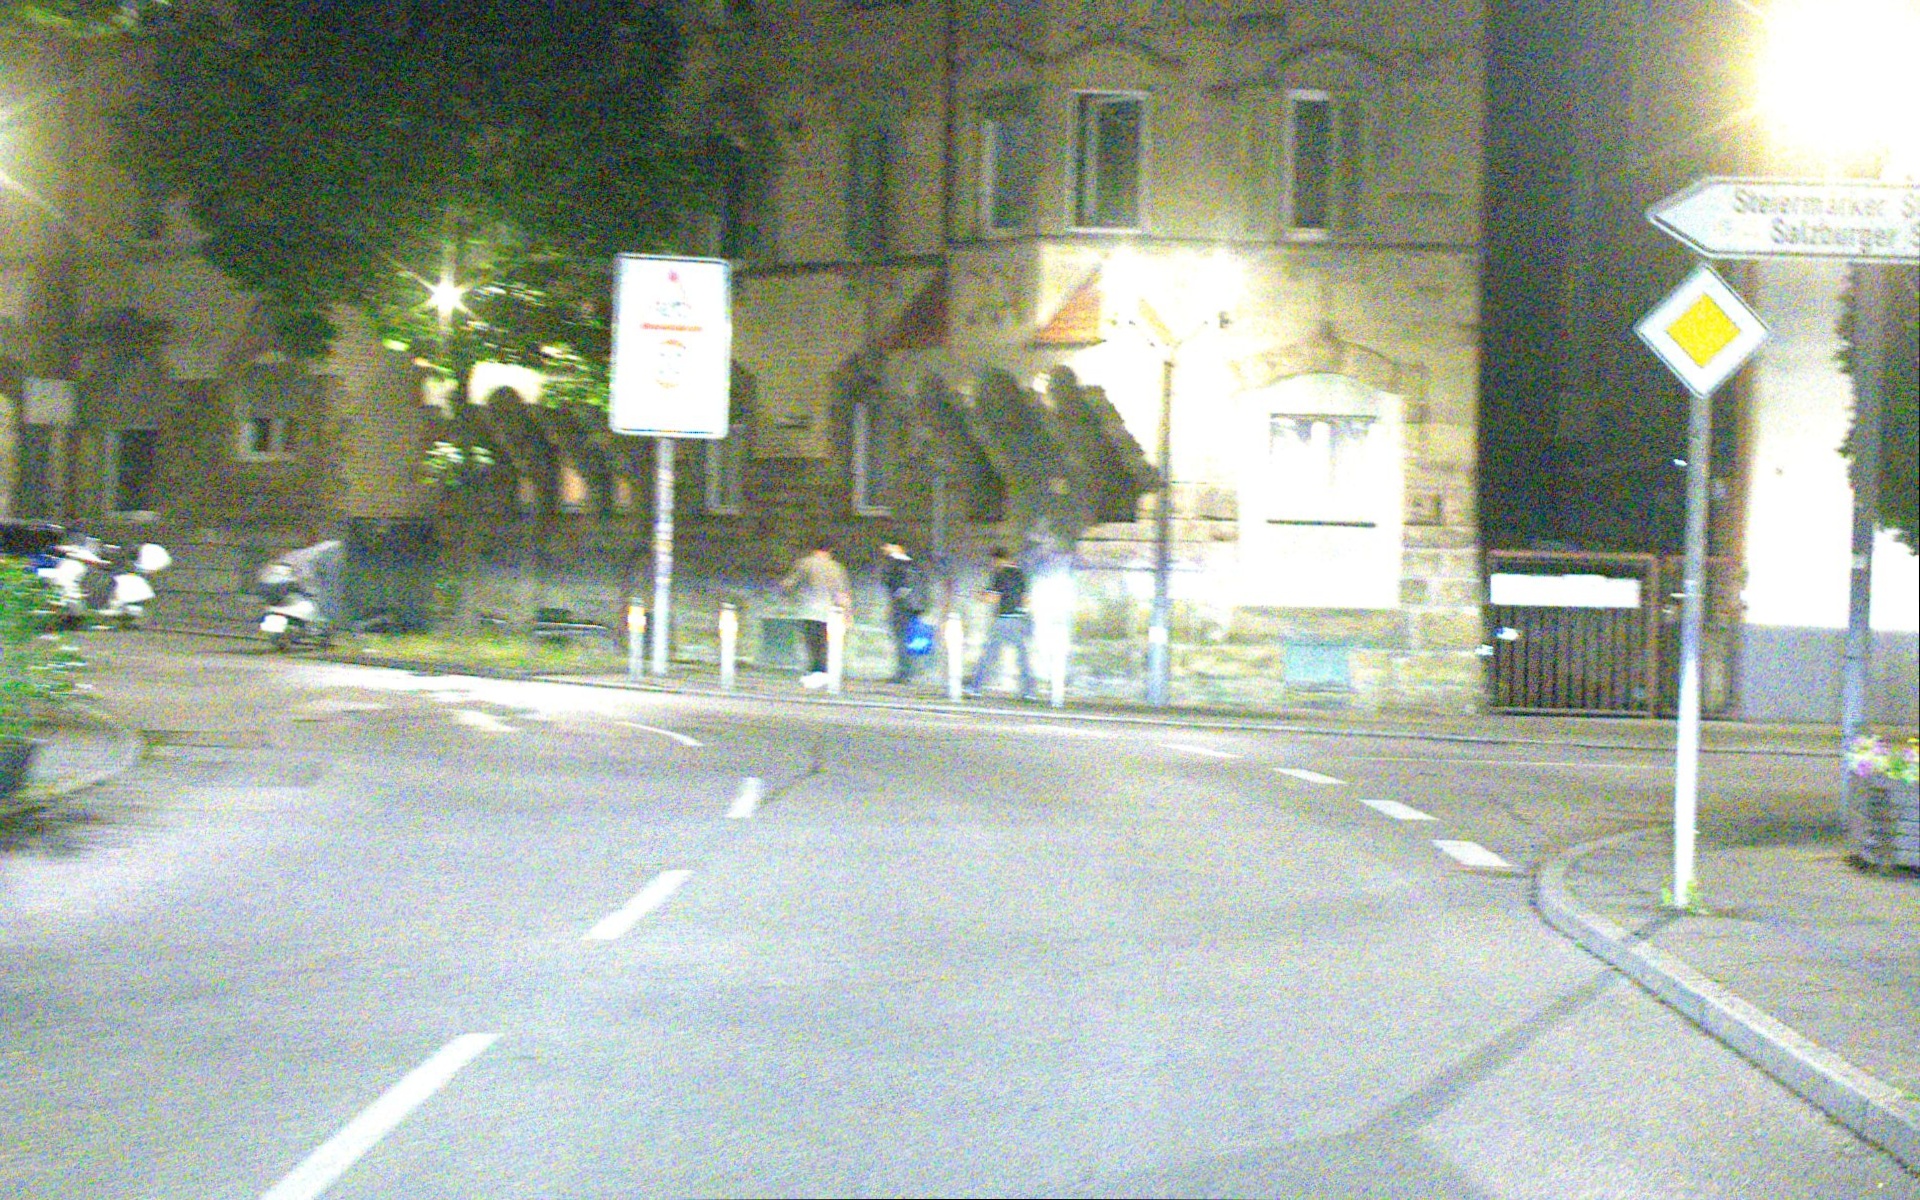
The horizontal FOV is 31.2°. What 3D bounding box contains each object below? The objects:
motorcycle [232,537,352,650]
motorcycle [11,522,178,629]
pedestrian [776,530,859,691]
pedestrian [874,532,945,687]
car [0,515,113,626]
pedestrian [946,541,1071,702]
[{"bbox_3d":[-8.304,-0.089,42.843,0.761,1.348,1.944,2,1,11],"label":"motorcycle"},{"bbox_3d":[-11.783,-0.345,46.850,0.923,1.401,2.055,3,3,37],"label":"motorcycle"},{"bbox_3d":[-1.550,0.110,37.268,0.507,1.703,0.704,1,1,-43],"label":"pedestrian"},{"bbox_3d":[-0.561,0.106,38.475,0.477,1.703,0.571,1,1,-43],"label":"pedestrian"},{"bbox_3d":[-13.964,-0.473,48.665,1.733,1.496,4.465,1,1,-45],"label":"car"},{"bbox_3d":[0.506,0.220,35.855,0.965,1.625,0.808,2,0,30],"label":"pedestrian"}]
